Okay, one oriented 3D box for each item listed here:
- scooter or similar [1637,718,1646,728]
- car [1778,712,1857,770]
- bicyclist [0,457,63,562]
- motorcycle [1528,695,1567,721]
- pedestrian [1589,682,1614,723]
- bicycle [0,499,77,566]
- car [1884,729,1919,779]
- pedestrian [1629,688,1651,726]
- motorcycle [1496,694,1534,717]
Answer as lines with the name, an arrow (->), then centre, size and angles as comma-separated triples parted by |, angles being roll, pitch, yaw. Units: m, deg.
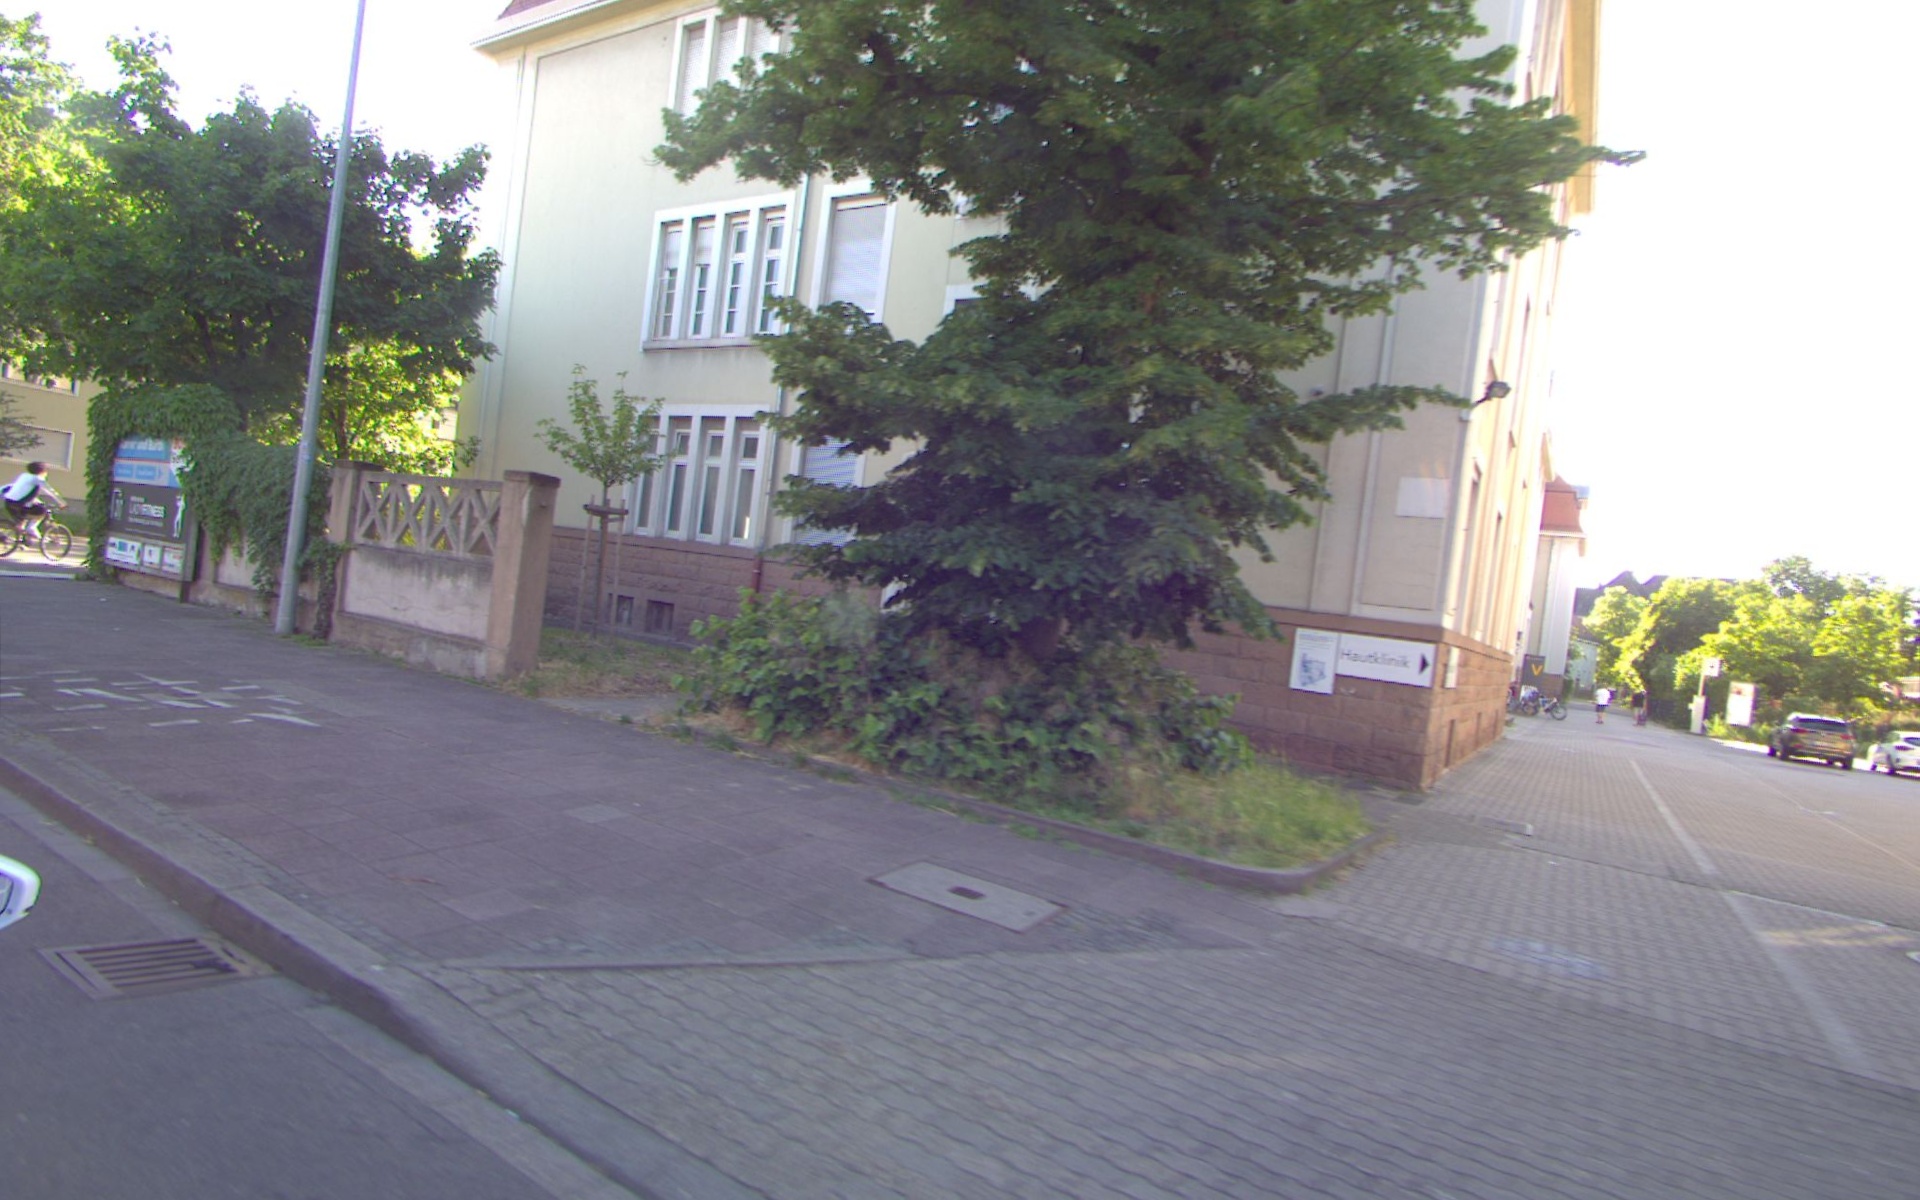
scooter or similar -> 32.075, 5.805, 47.362 | 0.289, 0.417, 0.269 | 8, 1, 30
car -> 28.641, 4.666, 33.567 | 1.764, 1.576, 3.430 | 8, 0, 42
bicyclist -> -16.969, -1.629, 18.178 | 0.601, 1.779, 0.789 | 7, 1, 7
motorcycle -> 25.897, 4.742, 44.380 | 1.372, 0.930, 0.322 | 7, -1, 30
pedestrian -> 28.627, 4.571, 44.884 | 0.725, 1.739, 0.586 | 8, 1, 30
bicycle -> -17.012, -1.232, 18.207 | 0.345, 1.094, 1.689 | 7, 0, 5
car -> 30.953, 5.007, 32.277 | 1.764, 1.418, 3.430 | 8, 0, 42
pedestrian -> 32.443, 5.101, 47.995 | 0.631, 1.739, 0.491 | 8, 1, 30
motorcycle -> 24.006, 4.561, 43.524 | 1.372, 0.795, 0.322 | 7, -1, 30
